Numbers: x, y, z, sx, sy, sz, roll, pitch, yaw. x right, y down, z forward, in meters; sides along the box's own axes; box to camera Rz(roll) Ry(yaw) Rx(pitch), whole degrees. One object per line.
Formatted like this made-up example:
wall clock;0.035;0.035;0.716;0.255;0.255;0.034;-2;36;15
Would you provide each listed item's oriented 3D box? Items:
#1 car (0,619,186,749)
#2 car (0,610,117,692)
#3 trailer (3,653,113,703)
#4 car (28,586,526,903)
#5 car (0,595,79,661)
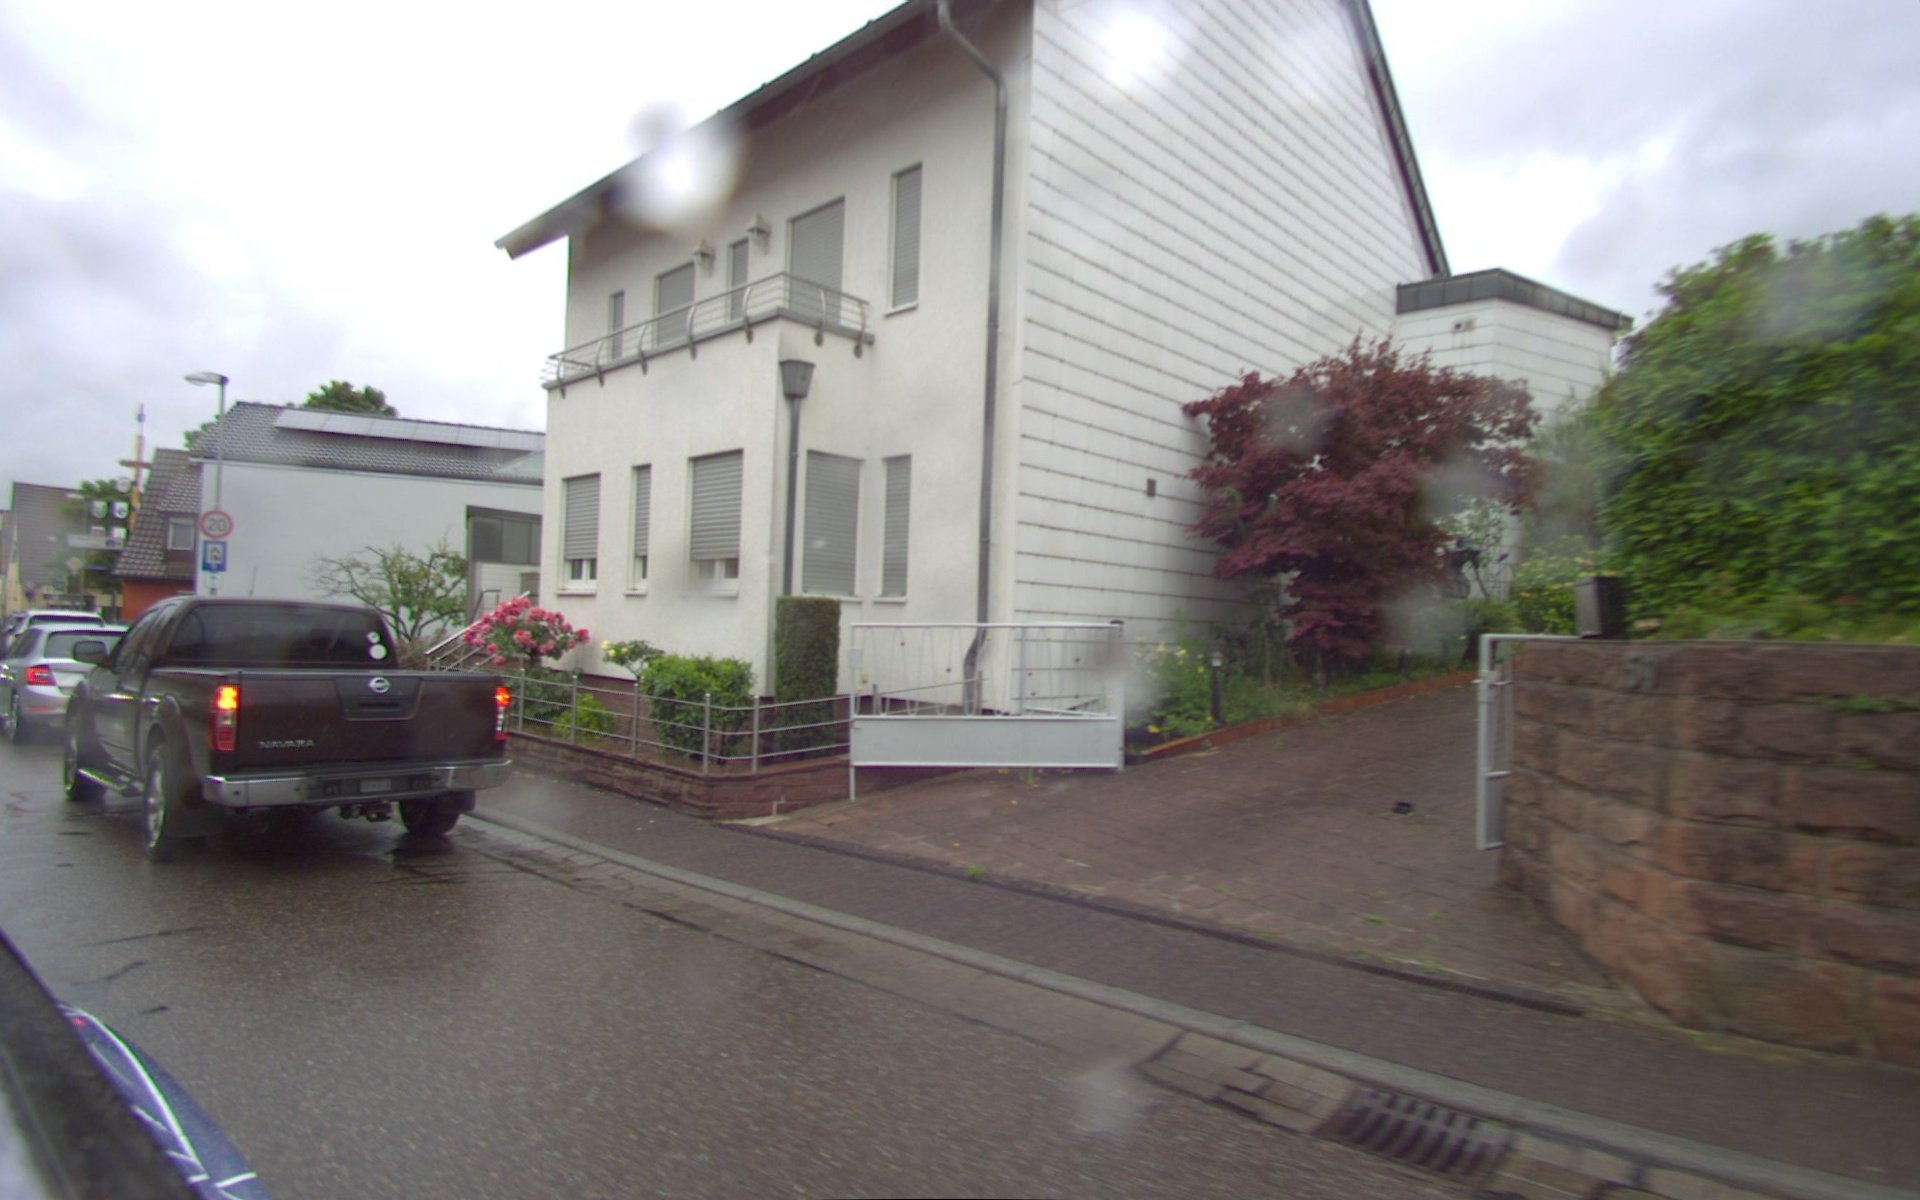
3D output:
car;-11.807;1.072;13.473;3.713;1.493;1.563;-2;-5;40
car;-20.446;1.103;22.855;1.790;1.697;4.187;4;-3;-44
trailer;-18.031;1.526;20.199;1.483;0.821;3.008;4;-3;-44
car;-5.497;0.826;7.796;5.194;1.686;1.815;0;-3;41
car;-24.689;0.724;26.828;4.186;1.628;1.652;-1;-3;45
